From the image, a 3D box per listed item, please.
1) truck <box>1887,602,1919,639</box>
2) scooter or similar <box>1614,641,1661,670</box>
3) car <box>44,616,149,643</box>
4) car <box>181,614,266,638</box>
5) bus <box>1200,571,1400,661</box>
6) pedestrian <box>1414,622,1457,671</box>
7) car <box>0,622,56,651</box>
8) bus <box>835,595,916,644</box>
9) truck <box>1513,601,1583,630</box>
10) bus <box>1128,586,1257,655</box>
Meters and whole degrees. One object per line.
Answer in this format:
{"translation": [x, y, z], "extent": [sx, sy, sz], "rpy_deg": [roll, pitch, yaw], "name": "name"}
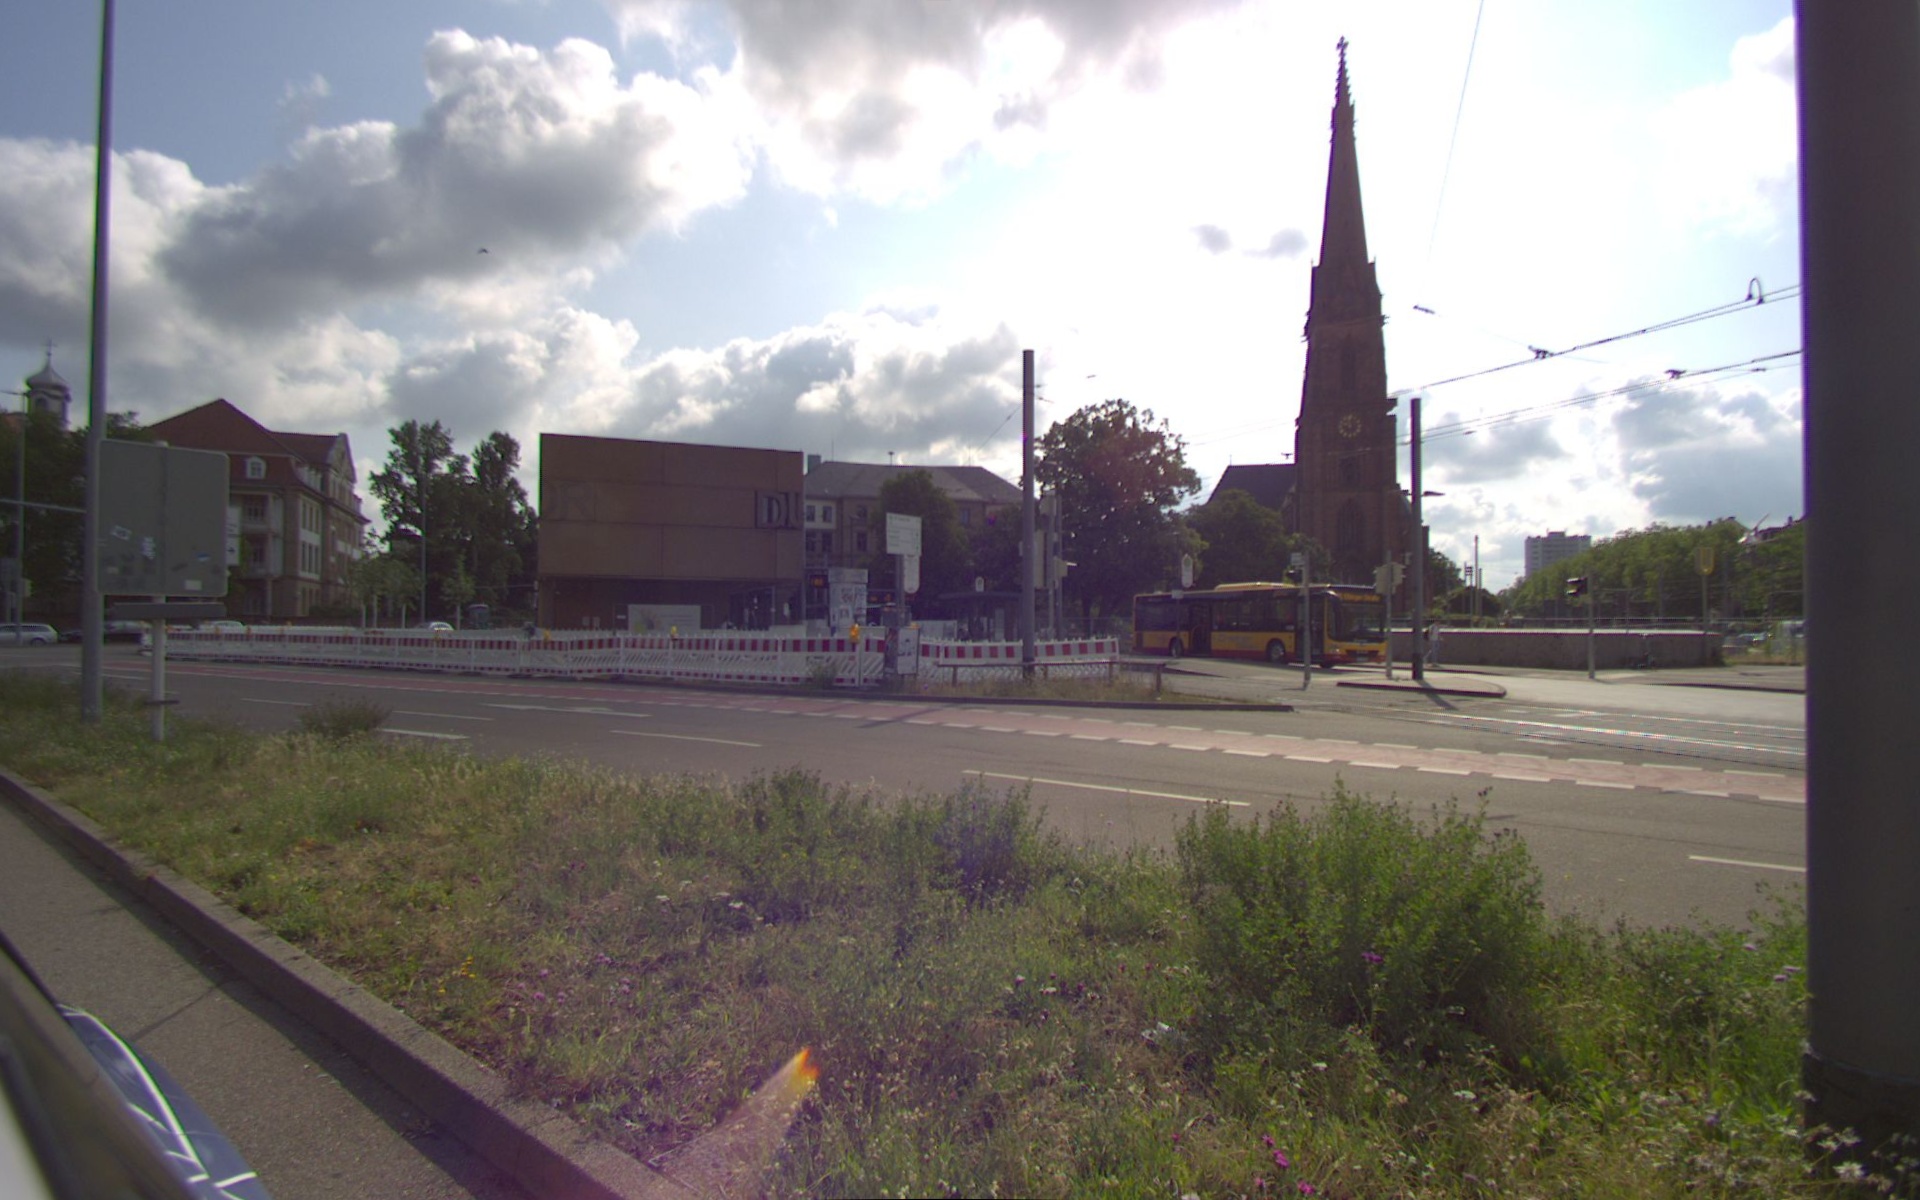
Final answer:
{"translation": [89.742, 1.868, 94.011], "extent": [3.162, 3.311, 7.236], "rpy_deg": [-2, -1, 25], "name": "truck"}
{"translation": [23.057, 1.871, 34.439], "extent": [1.635, 0.957, 0.475], "rpy_deg": [1, -2, -21], "name": "scooter or similar"}
{"translation": [-46.621, 1.601, 54.747], "extent": [1.741, 1.401, 4.115], "rpy_deg": [-1, -2, 11], "name": "car"}
{"translation": [-45.149, 1.602, 62.141], "extent": [1.741, 1.401, 4.115], "rpy_deg": [-1, -2, 11], "name": "car"}
{"translation": [11.675, 0.598, 35.601], "extent": [2.653, 2.855, 7.123], "rpy_deg": [1, -2, -22], "name": "bus"}
{"translation": [17.978, 1.756, 38.256], "extent": [0.914, 1.702, 1.101], "rpy_deg": [-5, 3, -24], "name": "pedestrian"}
{"translation": [-53.744, 2.042, 56.284], "extent": [1.989, 1.581, 4.741], "rpy_deg": [-1, -2, 25], "name": "car"}
{"translation": [-6.927, 1.582, 80.434], "extent": [2.913, 3.534, 12.293], "rpy_deg": [1, -2, -22], "name": "bus"}
{"translation": [75.678, 2.016, 130.467], "extent": [7.387, 3.676, 2.457], "rpy_deg": [0, -2, 18], "name": "truck"}
{"translation": [9.359, 0.841, 41.272], "extent": [2.655, 2.607, 5.094], "rpy_deg": [1, -2, -22], "name": "bus"}
